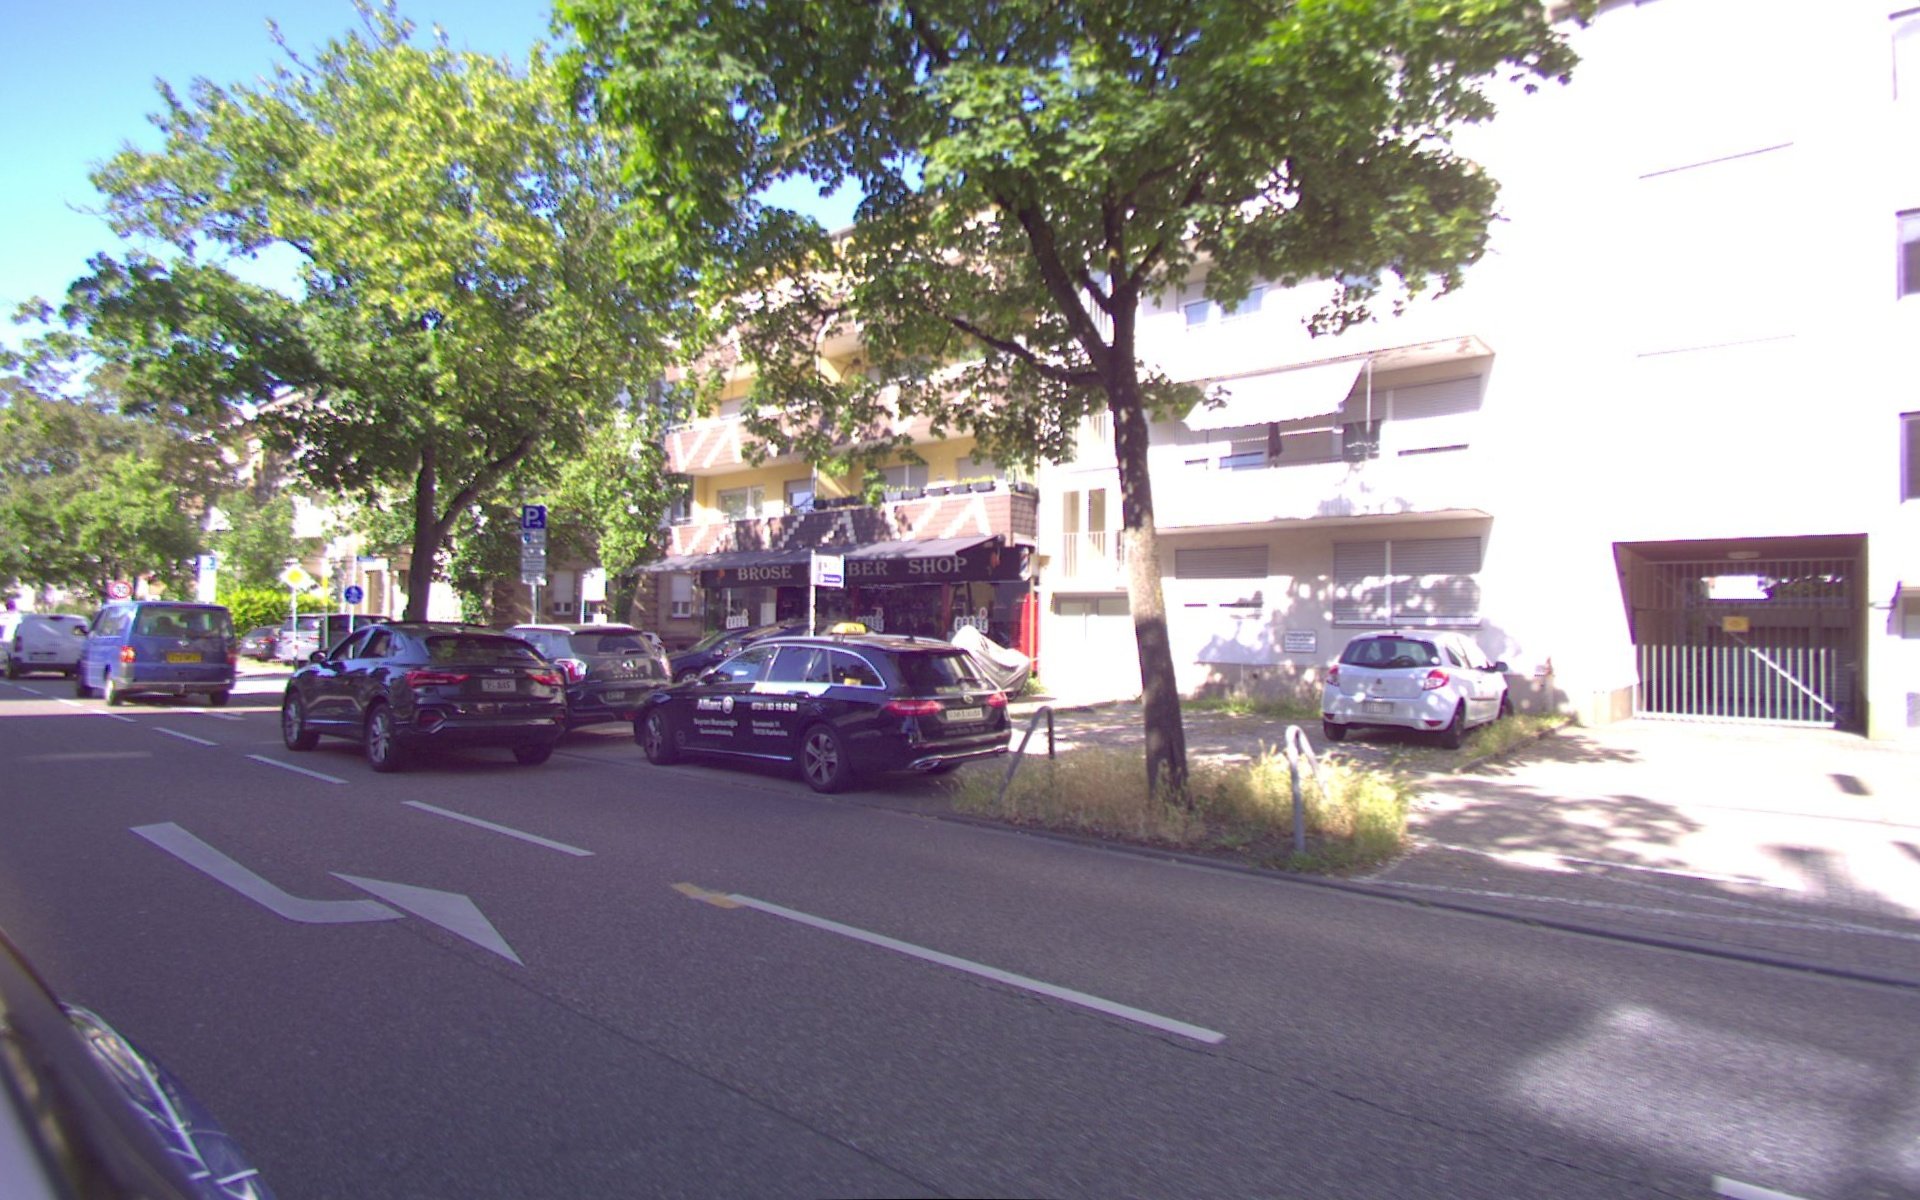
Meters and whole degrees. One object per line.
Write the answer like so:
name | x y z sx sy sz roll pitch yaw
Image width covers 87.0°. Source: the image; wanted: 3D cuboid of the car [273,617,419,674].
car | -21.628 1.561 35.865 1.863 1.893 4.304 -1 -2 17

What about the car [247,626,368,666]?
car | -26.346 1.818 40.927 1.633 1.500 3.864 -2 -2 44

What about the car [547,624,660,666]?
car | -13.704 1.722 39.050 1.646 1.499 3.744 1 -2 40

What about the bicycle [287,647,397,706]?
bicycle | -12.879 1.582 21.128 1.903 1.144 0.464 0 -2 -22

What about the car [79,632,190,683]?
car | -25.251 1.705 30.888 4.799 1.400 1.815 -1 -2 41

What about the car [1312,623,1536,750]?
car | 6.612 1.091 14.218 1.879 1.498 3.947 -2 -2 40

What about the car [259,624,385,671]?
car | -23.828 1.744 37.986 1.665 1.657 3.899 -1 -2 16

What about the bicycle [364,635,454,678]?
bicycle | -18.113 1.845 33.420 0.941 1.271 3.169 2 -1 6

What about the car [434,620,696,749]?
car | -5.802 1.109 14.654 4.130 1.608 1.705 -1 -1 38

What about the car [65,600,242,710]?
car | -16.006 1.070 19.988 4.709 1.925 1.784 -1 -5 41

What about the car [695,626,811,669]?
car | -7.388 1.733 36.453 1.645 1.453 3.946 -3 -4 40

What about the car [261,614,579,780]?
car | -6.360 1.030 11.713 4.339 1.578 1.701 -1 -5 40

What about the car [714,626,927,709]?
car | -2.746 1.295 20.399 3.937 1.472 1.735 1 -2 -41

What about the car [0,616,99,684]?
car | -25.825 1.395 28.345 4.490 1.756 1.797 -1 -5 40

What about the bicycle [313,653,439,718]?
bicycle | -10.806 1.566 18.805 1.994 1.100 0.464 0 -2 -26

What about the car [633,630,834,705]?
car | -4.914 1.406 22.081 3.932 1.467 1.738 0 -2 -31

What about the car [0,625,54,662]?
car | -43.673 1.995 47.156 4.344 1.600 1.608 -2 -1 40

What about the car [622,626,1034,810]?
car | -1.591 1.063 10.814 4.677 1.547 1.704 -1 -1 41

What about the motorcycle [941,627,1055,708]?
motorcycle | 0.752 1.285 19.796 2.120 1.497 0.783 0 -2 -31
